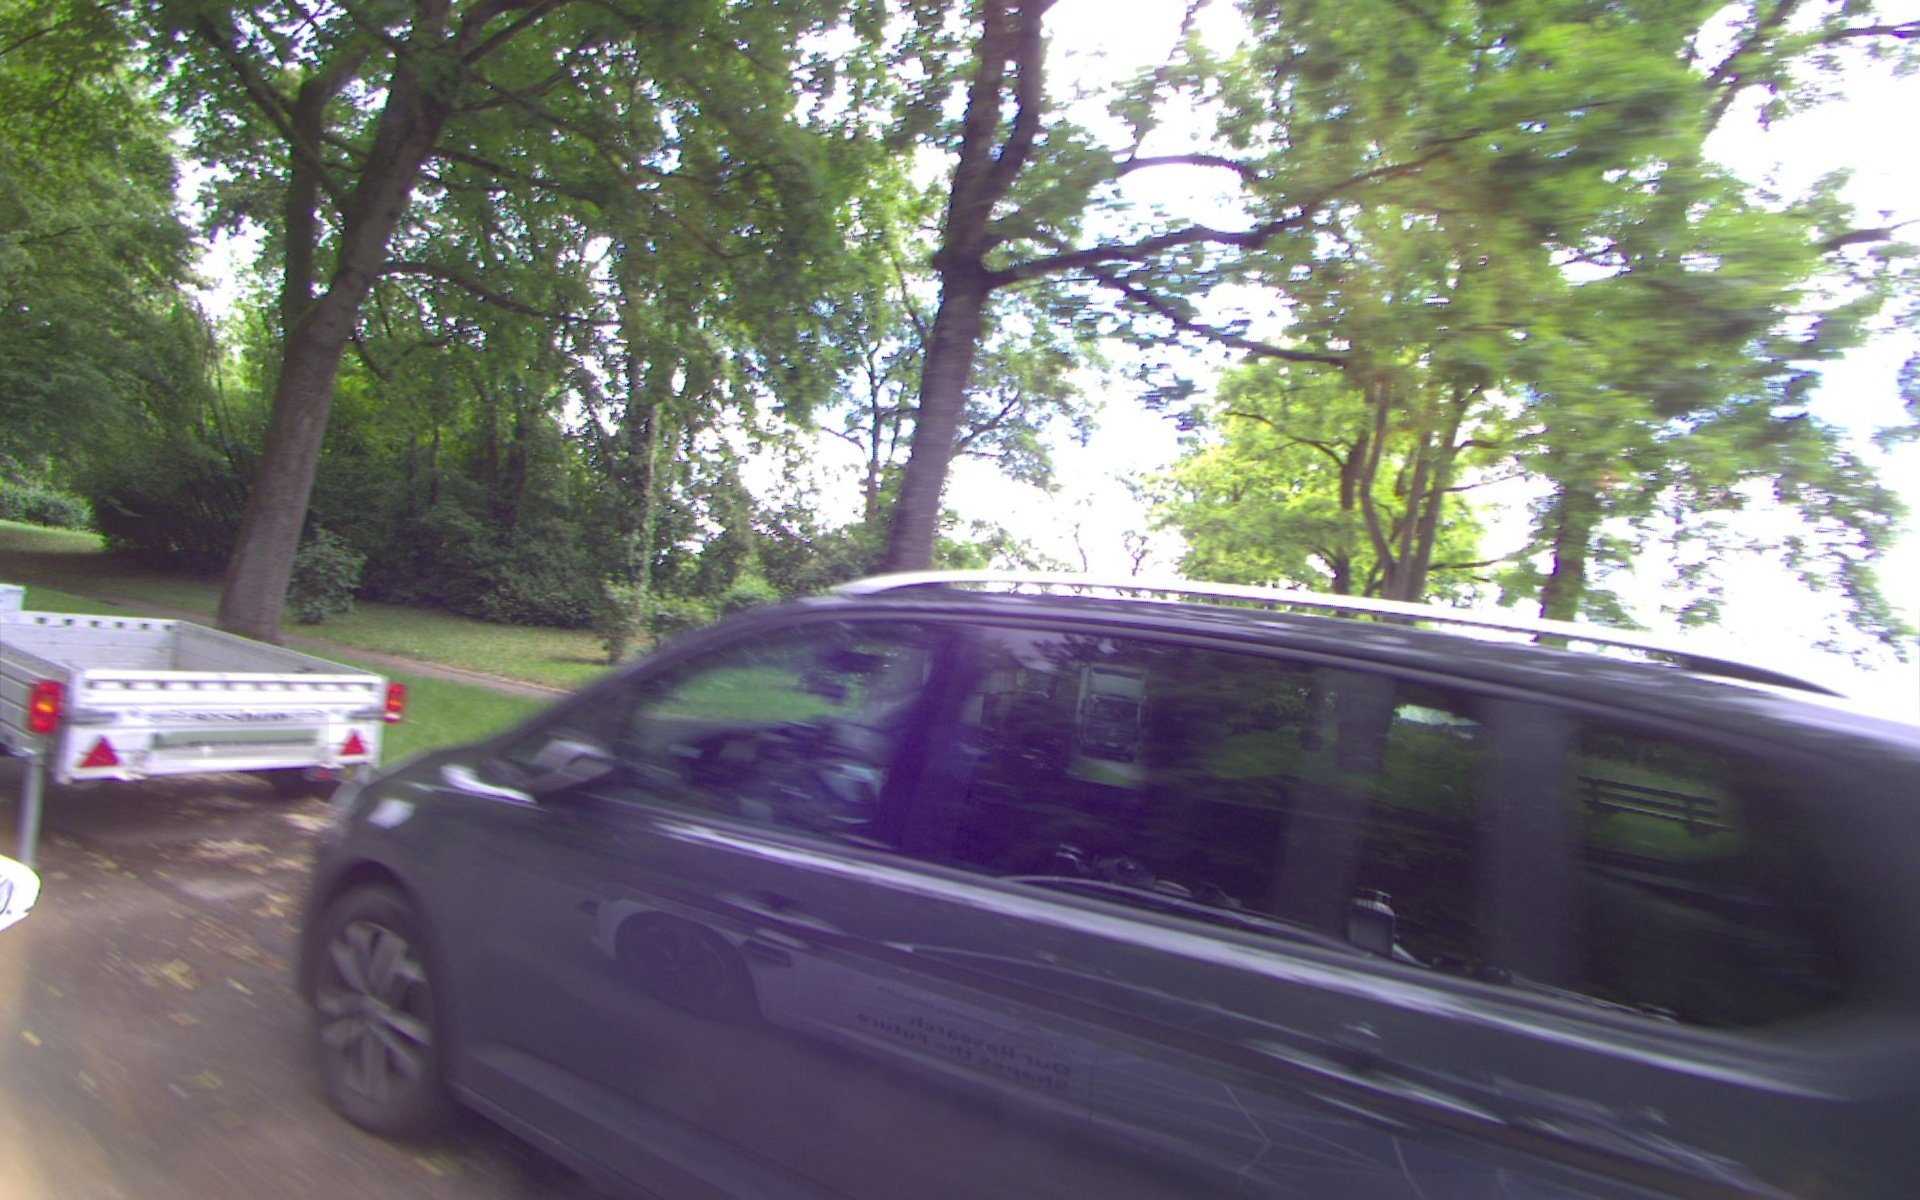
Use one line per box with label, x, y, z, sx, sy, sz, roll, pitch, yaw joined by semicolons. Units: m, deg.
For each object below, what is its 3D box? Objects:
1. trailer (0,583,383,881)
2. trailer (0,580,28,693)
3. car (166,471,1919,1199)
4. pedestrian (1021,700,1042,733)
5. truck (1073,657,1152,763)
trailer;-5.028;0.556;5.722;3.829;0.979;1.360;7;-3;33
trailer;-9.108;0.092;8.046;3.222;0.856;1.368;5;-4;28
car;0.131;0.746;2.633;4.760;1.680;1.780;6;-3;32
pedestrian;3.974;6.444;55.746;0.947;1.631;0.703;8;-3;7
truck;6.844;4.958;46.402;2.646;4.039;9.593;7;-4;6
